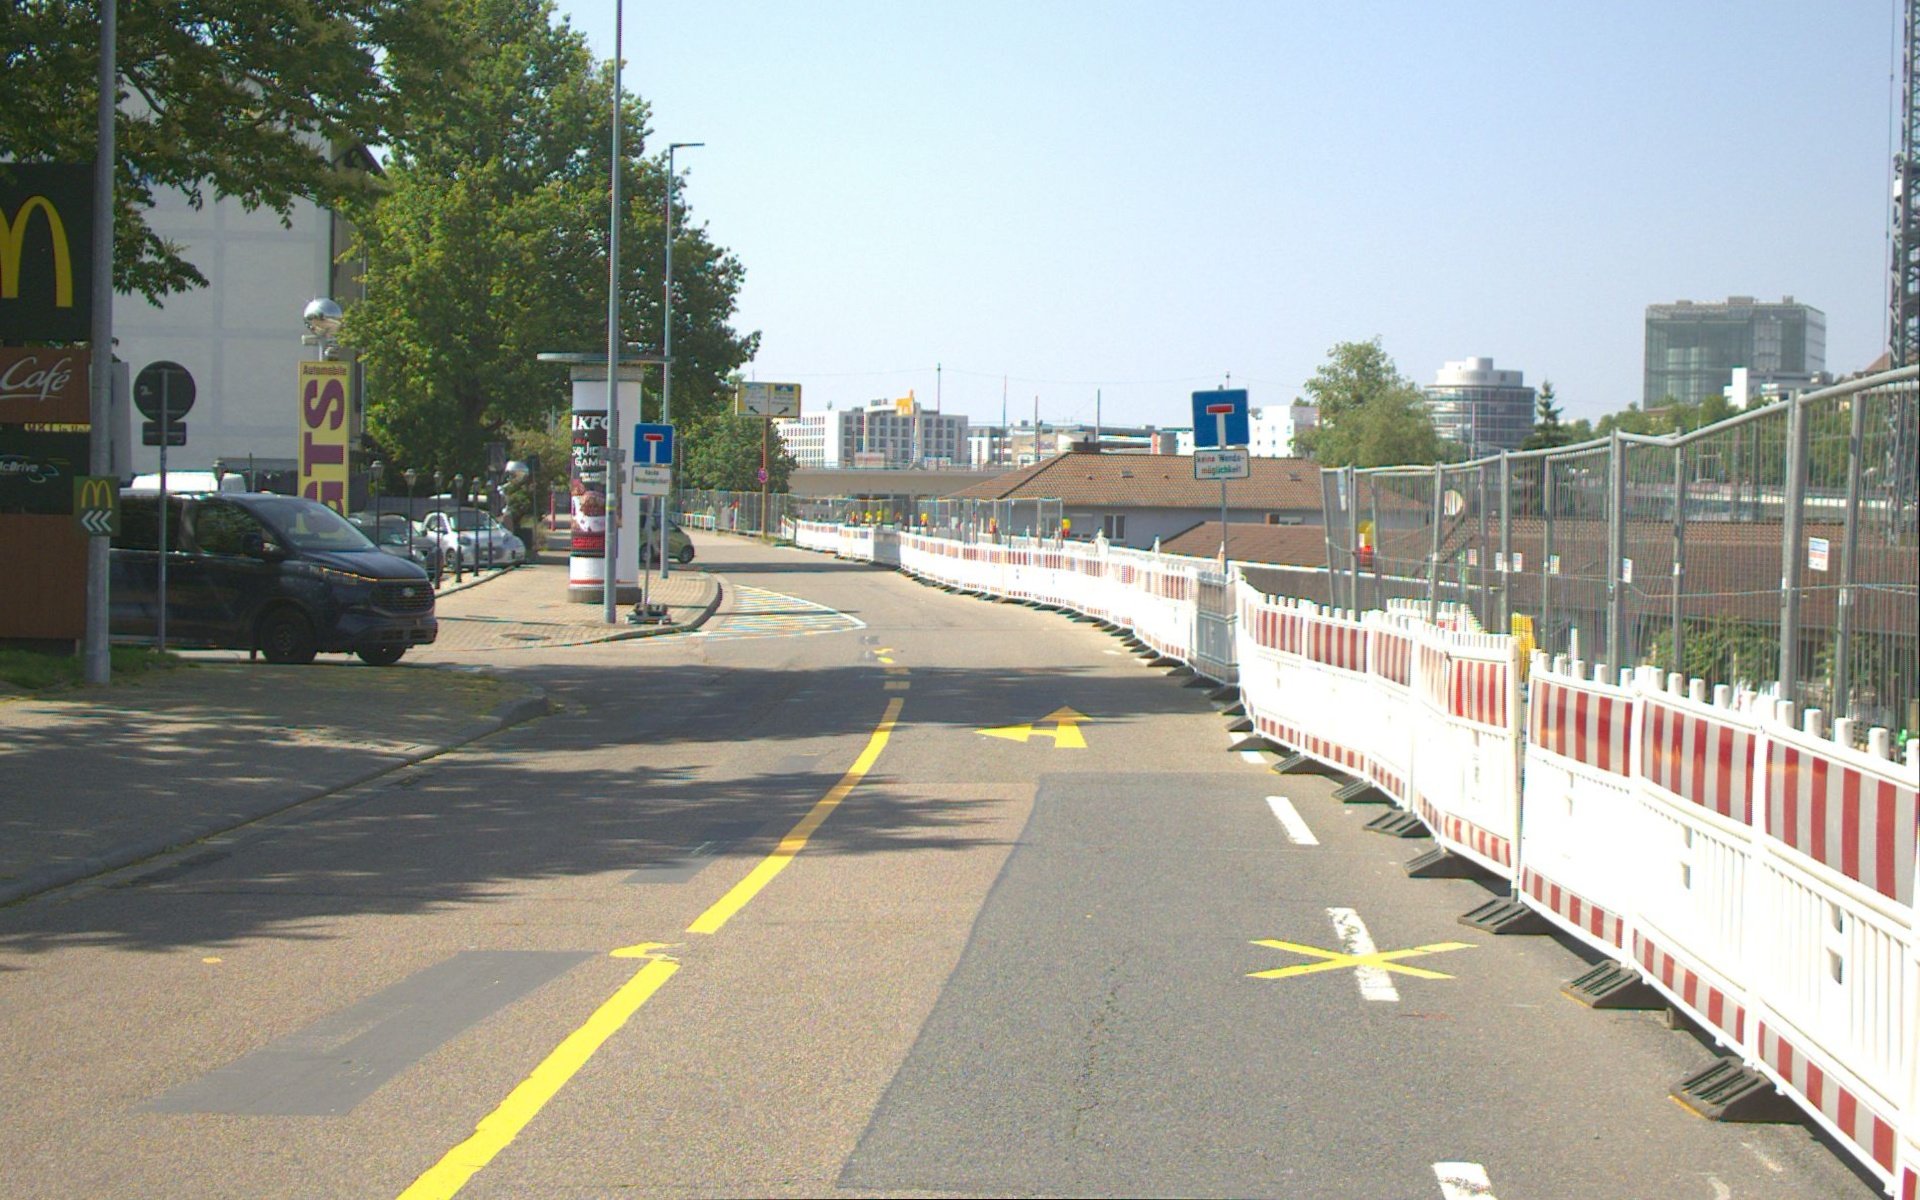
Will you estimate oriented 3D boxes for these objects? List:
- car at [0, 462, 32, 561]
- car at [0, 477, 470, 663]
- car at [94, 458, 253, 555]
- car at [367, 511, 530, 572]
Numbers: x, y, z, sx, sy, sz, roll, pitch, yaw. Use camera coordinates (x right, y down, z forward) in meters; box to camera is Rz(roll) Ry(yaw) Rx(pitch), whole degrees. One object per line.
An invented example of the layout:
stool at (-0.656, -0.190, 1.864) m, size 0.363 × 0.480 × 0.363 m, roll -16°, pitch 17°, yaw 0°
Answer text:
car at (-19.961, -1.782, 67.649) m, size 1.994 × 1.897 × 4.000 m, roll 1°, pitch 1°, yaw -35°
car at (-8.359, -0.375, 38.403) m, size 5.369 × 1.928 × 1.998 m, roll 1°, pitch 2°, yaw 19°
car at (-16.317, -1.956, 71.204) m, size 1.823 × 1.923 × 4.000 m, roll 1°, pitch 1°, yaw -35°
car at (-12.764, -1.470, 85.835) m, size 3.678 × 1.416 × 1.571 m, roll 2°, pitch 1°, yaw 13°
